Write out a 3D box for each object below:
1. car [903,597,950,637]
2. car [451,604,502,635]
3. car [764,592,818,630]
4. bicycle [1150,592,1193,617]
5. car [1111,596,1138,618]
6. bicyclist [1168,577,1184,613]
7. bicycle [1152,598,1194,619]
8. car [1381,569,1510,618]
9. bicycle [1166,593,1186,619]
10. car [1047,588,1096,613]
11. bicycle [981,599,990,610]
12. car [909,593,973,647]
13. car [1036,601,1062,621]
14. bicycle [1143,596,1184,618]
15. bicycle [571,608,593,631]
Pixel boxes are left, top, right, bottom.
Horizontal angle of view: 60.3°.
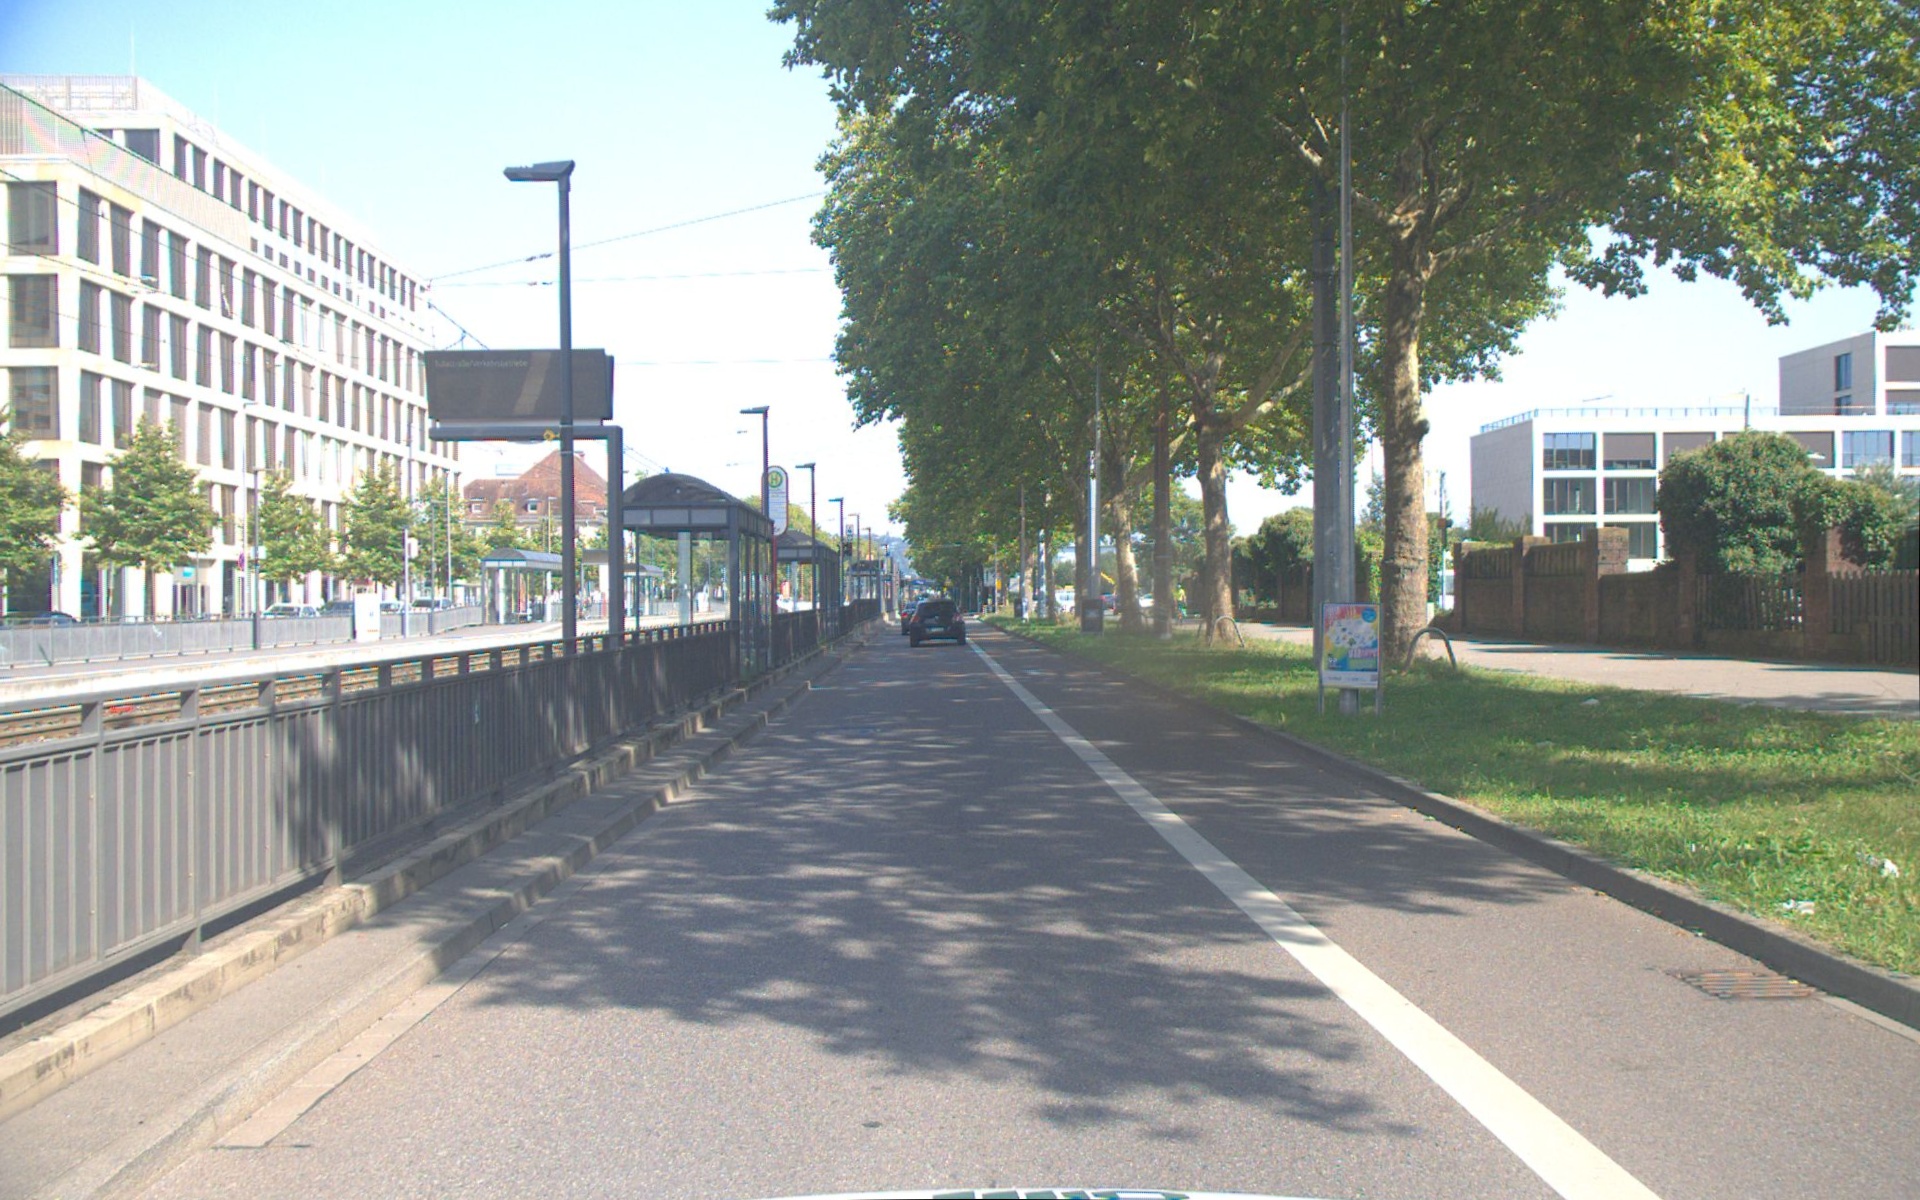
[{"bbox_3d":[-1.502,0.715,72.643,1.934,1.564,3.998,-4,0,-2],"label":"car"},{"bbox_3d":[-26.986,1.085,92.462,1.728,1.631,4.130,-2,0,-3],"label":"car"},{"bbox_3d":[-7.311,0.464,71.742,1.953,1.586,3.999,-1,0,-1],"label":"car"},{"bbox_3d":[11.919,0.245,93.272,2.199,1.299,0.998,-3,-1,-2],"label":"bicycle"},{"bbox_3d":[12.822,0.552,129.116,1.575,1.603,3.795,-2,0,-1],"label":"car"},{"bbox_3d":[8.877,-0.204,67.937,0.537,1.478,0.842,-1,0,-1],"label":"bicyclist"},{"bbox_3d":[11.438,0.451,88.733,2.130,1.095,0.743,-1,0,-3],"label":"bicycle"},{"bbox_3d":[18.894,-0.250,64.498,4.432,1.764,1.908,-2,0,-4],"label":"car"},{"bbox_3d":[8.875,0.233,67.978,0.537,1.024,1.713,-1,0,-1],"label":"bicycle"},{"bbox_3d":[9.493,0.004,141.178,4.018,1.952,1.848,-3,0,1],"label":"car"},{"bbox_3d":[2.386,0.401,156.535,0.598,1.039,2.400,-1,0,-5],"label":"bicycle"},{"bbox_3d":[-0.647,0.619,52.456,1.869,1.564,3.998,-3,0,-2],"label":"car"},{"bbox_3d":[6.873,0.832,127.769,1.693,1.474,4.549,-2,0,-1],"label":"car"},{"bbox_3d":[11.276,0.379,91.757,2.128,1.095,0.743,-4,0,2],"label":"bicycle"},{"bbox_3d":[-18.949,0.976,82.945,0.461,1.167,1.485,-1,0,13],"label":"bicycle"}]
